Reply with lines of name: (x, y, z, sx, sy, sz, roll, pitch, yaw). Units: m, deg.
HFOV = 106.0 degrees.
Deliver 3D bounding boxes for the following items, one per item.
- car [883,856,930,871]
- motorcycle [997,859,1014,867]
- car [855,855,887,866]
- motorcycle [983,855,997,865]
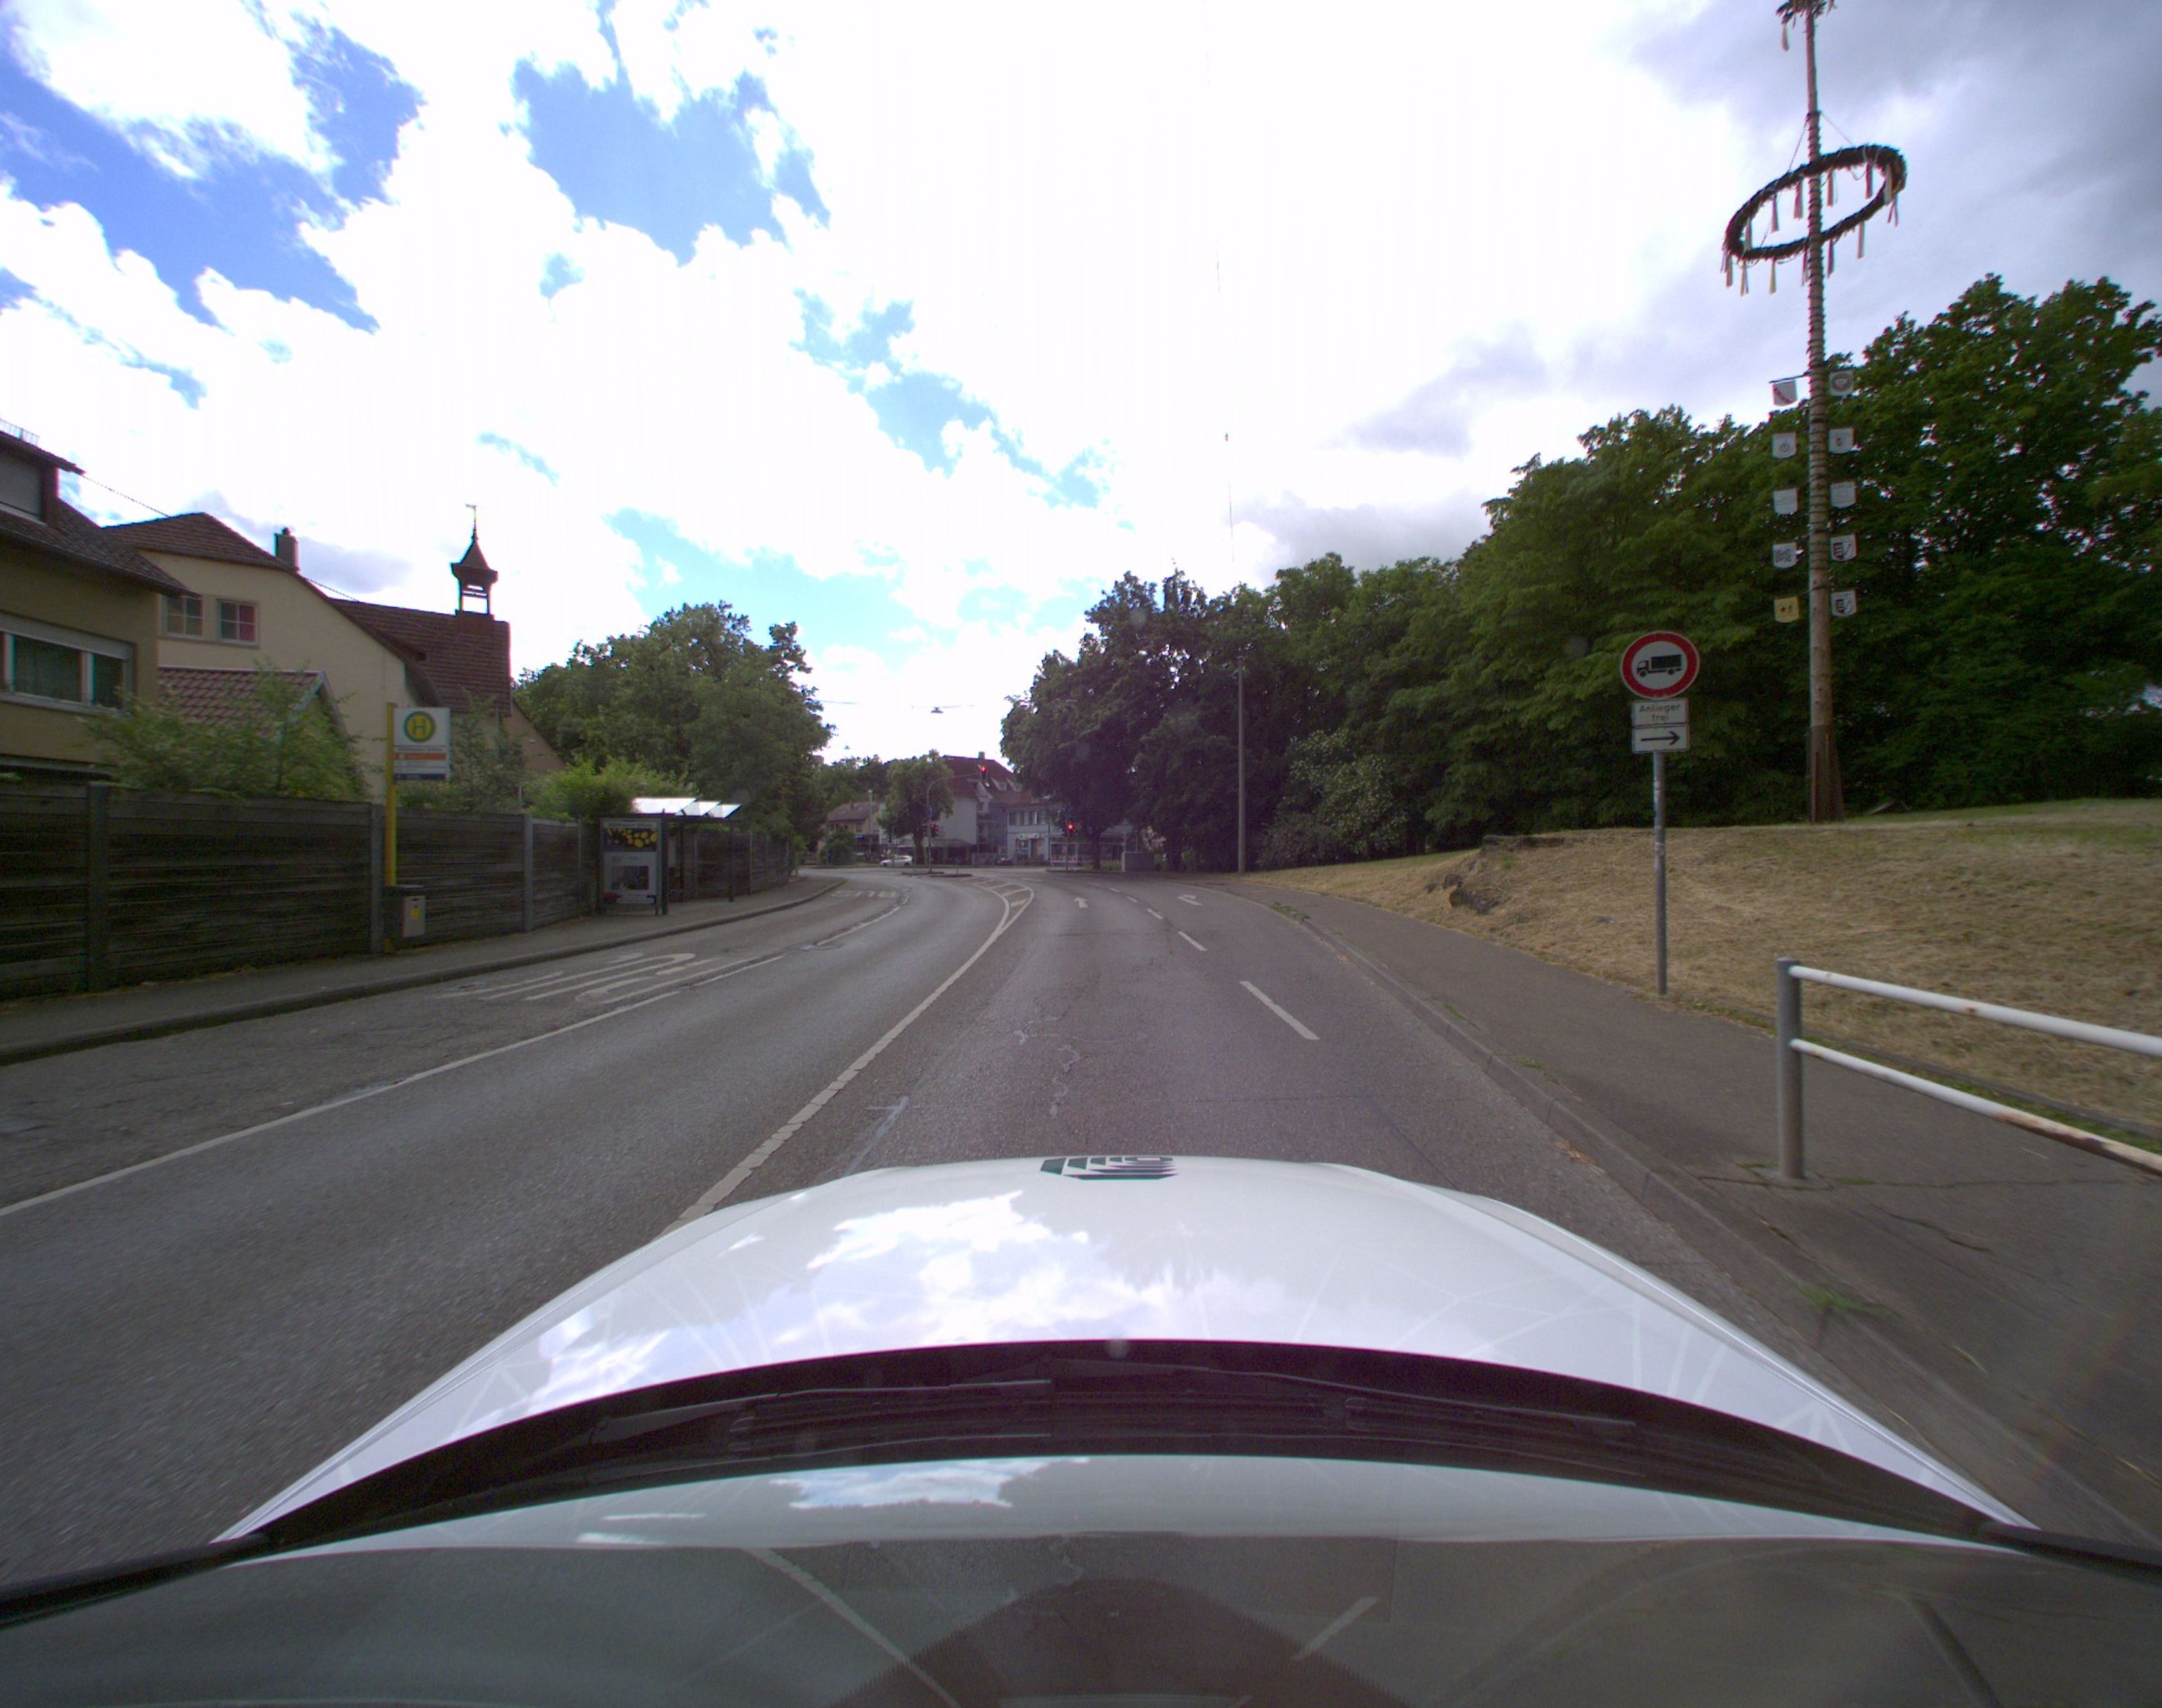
car: (-18.989, 1.049, 88.709, 4.543, 1.517, 2.008, -1, 0, 15)
motorcycle: (-8.751, 1.090, 94.891, 1.822, 0.848, 0.563, -1, 5, 17)
car: (-29.901, 0.903, 115.771, 4.019, 1.486, 1.740, -1, 0, -38)
motorcycle: (-10.689, 0.753, 96.106, 1.484, 1.106, 0.563, -2, 5, 13)
